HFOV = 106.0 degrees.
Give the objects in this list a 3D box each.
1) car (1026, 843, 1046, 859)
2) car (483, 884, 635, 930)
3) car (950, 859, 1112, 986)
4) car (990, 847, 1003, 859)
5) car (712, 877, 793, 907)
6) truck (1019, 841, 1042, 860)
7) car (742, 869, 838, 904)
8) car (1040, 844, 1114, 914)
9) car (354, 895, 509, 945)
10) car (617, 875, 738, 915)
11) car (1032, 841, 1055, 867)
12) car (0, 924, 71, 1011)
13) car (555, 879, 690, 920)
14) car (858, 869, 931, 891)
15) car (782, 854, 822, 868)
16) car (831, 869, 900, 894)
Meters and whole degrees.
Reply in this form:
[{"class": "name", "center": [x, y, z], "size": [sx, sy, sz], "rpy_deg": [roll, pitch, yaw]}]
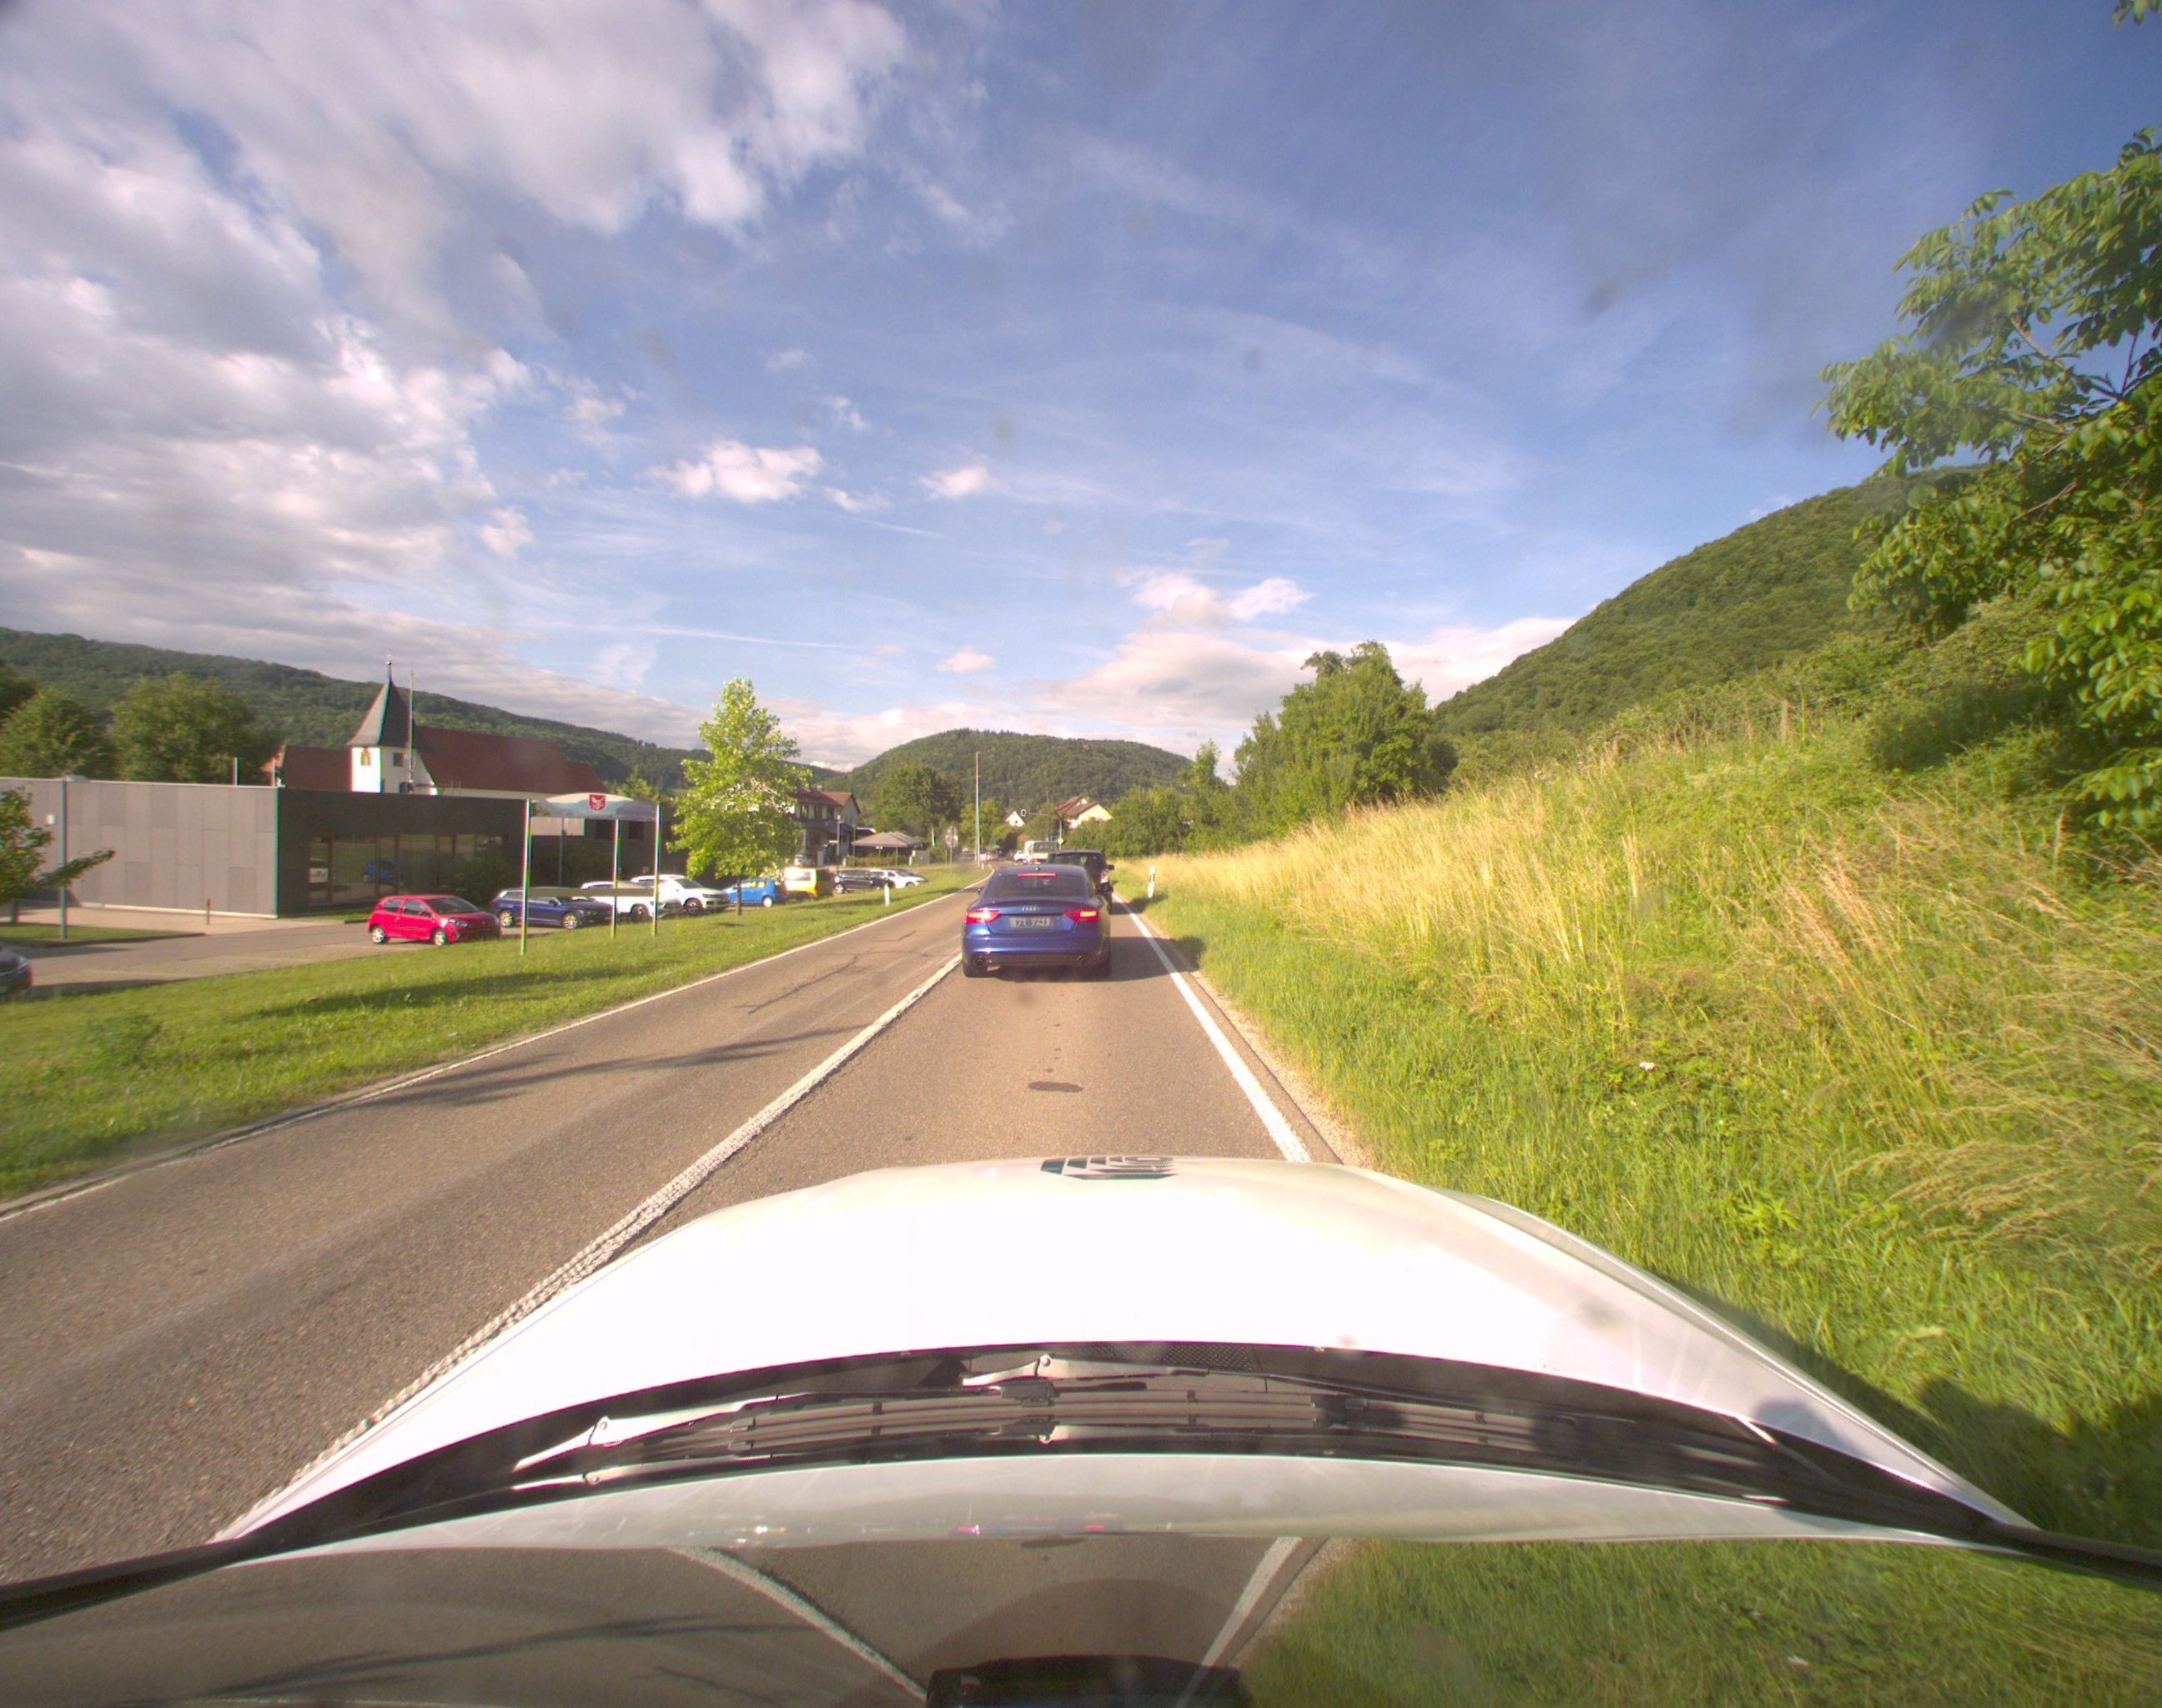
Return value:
[{"class": "car", "center": [-4.523, -0.283, 81.754], "size": [1.744, 1.639, 3.991], "rpy_deg": [0, 0, -6]}, {"class": "car", "center": [-19.218, 1.909, 30.057], "size": [4.511, 1.555, 2.005], "rpy_deg": [0, -1, 9]}, {"class": "car", "center": [-0.489, 0.780, 11.125], "size": [1.788, 1.388, 4.002], "rpy_deg": [-1, -1, 2]}, {"class": "car", "center": [-11.740, -0.094, 112.674], "size": [1.733, 1.662, 3.462], "rpy_deg": [0, -1, -8]}, {"class": "car", "center": [-17.041, 1.960, 42.320], "size": [3.474, 1.472, 1.636], "rpy_deg": [0, -1, 7]}, {"class": "truck", "center": [-5.450, -0.352, 86.928], "size": [1.698, 1.953, 5.899], "rpy_deg": [0, 0, -11]}, {"class": "car", "center": [-16.009, 1.765, 44.891], "size": [4.578, 1.868, 2.007], "rpy_deg": [0, -1, 13]}, {"class": "car", "center": [-0.011, 0.602, 21.271], "size": [1.739, 1.639, 4.002], "rpy_deg": [0, 0, 2]}, {"class": "car", "center": [-19.913, 1.986, 25.025], "size": [3.698, 1.398, 1.620], "rpy_deg": [0, -1, 9]}, {"class": "car", "center": [-18.137, 1.834, 36.712], "size": [4.511, 1.703, 2.005], "rpy_deg": [0, -1, 9]}, {"class": "car", "center": [-3.219, 0.030, 69.542], "size": [1.744, 2.195, 3.991], "rpy_deg": [0, -1, -6]}, {"class": "car", "center": [-21.503, 2.124, 15.037], "size": [3.985, 1.451, 1.688], "rpy_deg": [0, 2, 7]}, {"class": "car", "center": [-18.677, 1.846, 33.249], "size": [4.511, 1.555, 2.005], "rpy_deg": [0, -1, 9]}, {"class": "car", "center": [-13.578, 1.884, 59.360], "size": [4.785, 1.493, 1.886], "rpy_deg": [0, -1, 9]}, {"class": "car", "center": [-29.459, 0.745, 86.058], "size": [1.749, 1.442, 4.021], "rpy_deg": [-1, -1, 22]}, {"class": "car", "center": [-14.474, 1.830, 54.836], "size": [4.000, 1.637, 2.005], "rpy_deg": [0, -1, 9]}]
